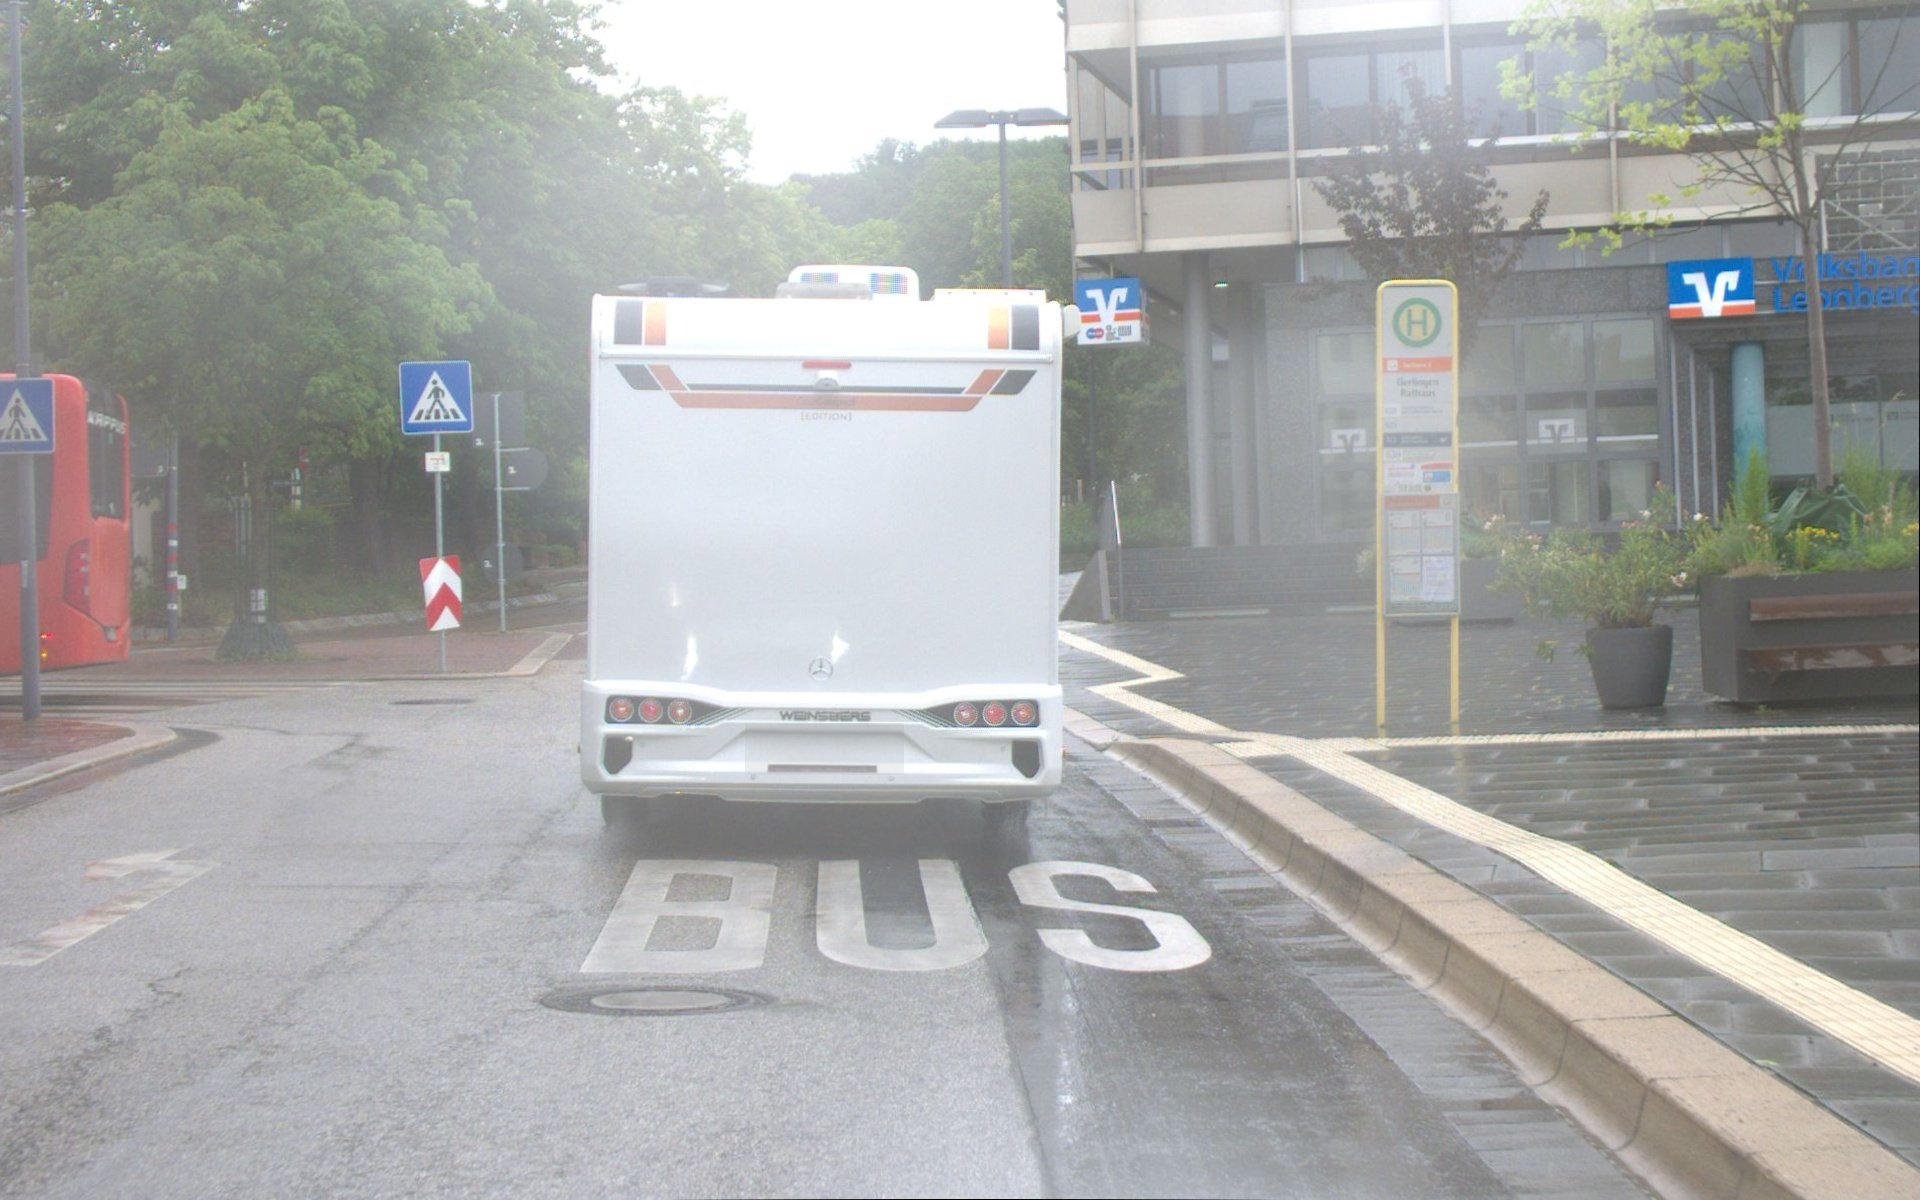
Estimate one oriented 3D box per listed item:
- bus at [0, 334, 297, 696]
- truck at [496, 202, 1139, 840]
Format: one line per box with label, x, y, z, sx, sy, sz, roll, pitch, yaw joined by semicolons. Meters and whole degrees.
bus;-11.503;-0.583;31.936;10.113;3.135;3.034;-3;0;-5
truck;-0.825;-0.376;18.736;2.805;2.787;6.107;-3;0;-3
